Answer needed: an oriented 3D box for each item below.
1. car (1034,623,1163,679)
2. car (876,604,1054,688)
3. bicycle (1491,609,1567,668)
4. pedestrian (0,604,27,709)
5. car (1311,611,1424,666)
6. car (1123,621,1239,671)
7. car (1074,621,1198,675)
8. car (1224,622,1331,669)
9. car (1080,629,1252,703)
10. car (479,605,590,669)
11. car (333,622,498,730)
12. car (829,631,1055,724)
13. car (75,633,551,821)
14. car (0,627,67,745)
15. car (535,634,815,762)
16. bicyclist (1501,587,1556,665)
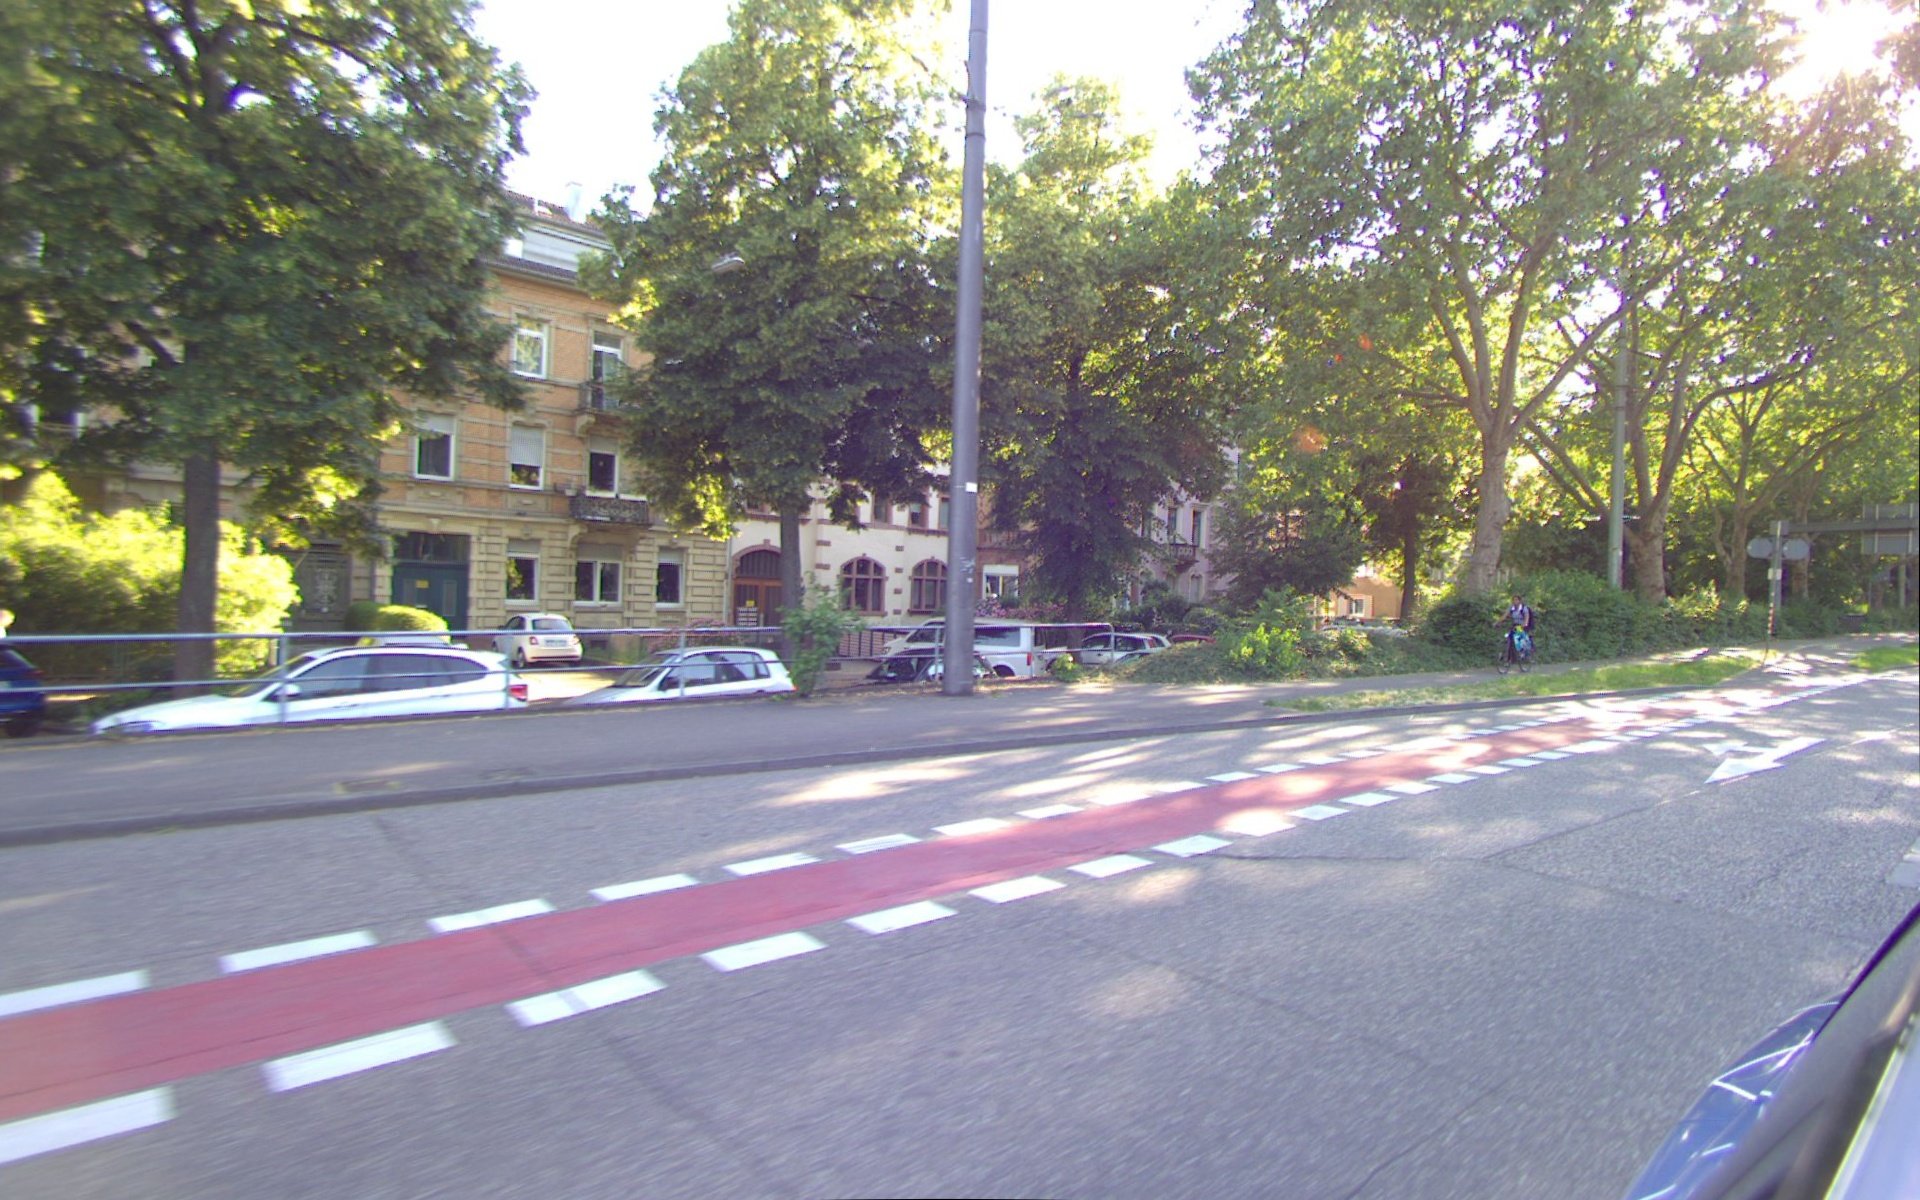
[{"bbox_3d":[4.470,1.583,32.475,3.871,1.470,1.680,3,1,17],"label":"car"},{"bbox_3d":[0.152,1.230,28.511,4.621,1.990,1.862,3,1,18],"label":"car"},{"bbox_3d":[11.520,0.758,20.464,1.768,1.121,0.767,0,1,-41],"label":"bicycle"},{"bbox_3d":[-16.408,0.956,17.316,0.621,1.768,0.648,1,0,-45],"label":"pedestrian"},{"bbox_3d":[17.658,1.638,44.081,4.408,2.039,1.984,3,1,20],"label":"car"},{"bbox_3d":[8.114,1.650,37.093,3.947,1.529,1.790,3,1,18],"label":"car"},{"bbox_3d":[6.082,1.623,34.890,3.947,1.529,1.790,3,1,18],"label":"car"},{"bbox_3d":[12.680,1.792,40.488,3.947,1.529,1.790,3,1,18],"label":"car"},{"bbox_3d":[4.636,1.385,22.480,3.932,1.325,1.796,-1,1,-42],"label":"car"},{"bbox_3d":[-12.086,0.980,28.667,1.770,1.541,3.570,0,2,-43],"label":"car"},{"bbox_3d":[-10.117,1.300,18.654,1.769,1.532,3.994,2,1,-42],"label":"car"},{"bbox_3d":[-0.253,1.310,18.380,3.932,1.325,1.796,-1,1,-42],"label":"car"},{"bbox_3d":[-7.377,1.290,11.856,4.474,1.599,1.797,-1,1,-41],"label":"car"},{"bbox_3d":[-15.308,1.168,14.747,3.951,1.532,1.788,3,1,21],"label":"car"},{"bbox_3d":[-4.085,1.311,14.745,3.516,1.459,1.797,-1,1,-42],"label":"car"},{"bbox_3d":[11.452,0.513,20.388,0.639,1.532,0.767,1,0,-41],"label":"bicyclist"}]
